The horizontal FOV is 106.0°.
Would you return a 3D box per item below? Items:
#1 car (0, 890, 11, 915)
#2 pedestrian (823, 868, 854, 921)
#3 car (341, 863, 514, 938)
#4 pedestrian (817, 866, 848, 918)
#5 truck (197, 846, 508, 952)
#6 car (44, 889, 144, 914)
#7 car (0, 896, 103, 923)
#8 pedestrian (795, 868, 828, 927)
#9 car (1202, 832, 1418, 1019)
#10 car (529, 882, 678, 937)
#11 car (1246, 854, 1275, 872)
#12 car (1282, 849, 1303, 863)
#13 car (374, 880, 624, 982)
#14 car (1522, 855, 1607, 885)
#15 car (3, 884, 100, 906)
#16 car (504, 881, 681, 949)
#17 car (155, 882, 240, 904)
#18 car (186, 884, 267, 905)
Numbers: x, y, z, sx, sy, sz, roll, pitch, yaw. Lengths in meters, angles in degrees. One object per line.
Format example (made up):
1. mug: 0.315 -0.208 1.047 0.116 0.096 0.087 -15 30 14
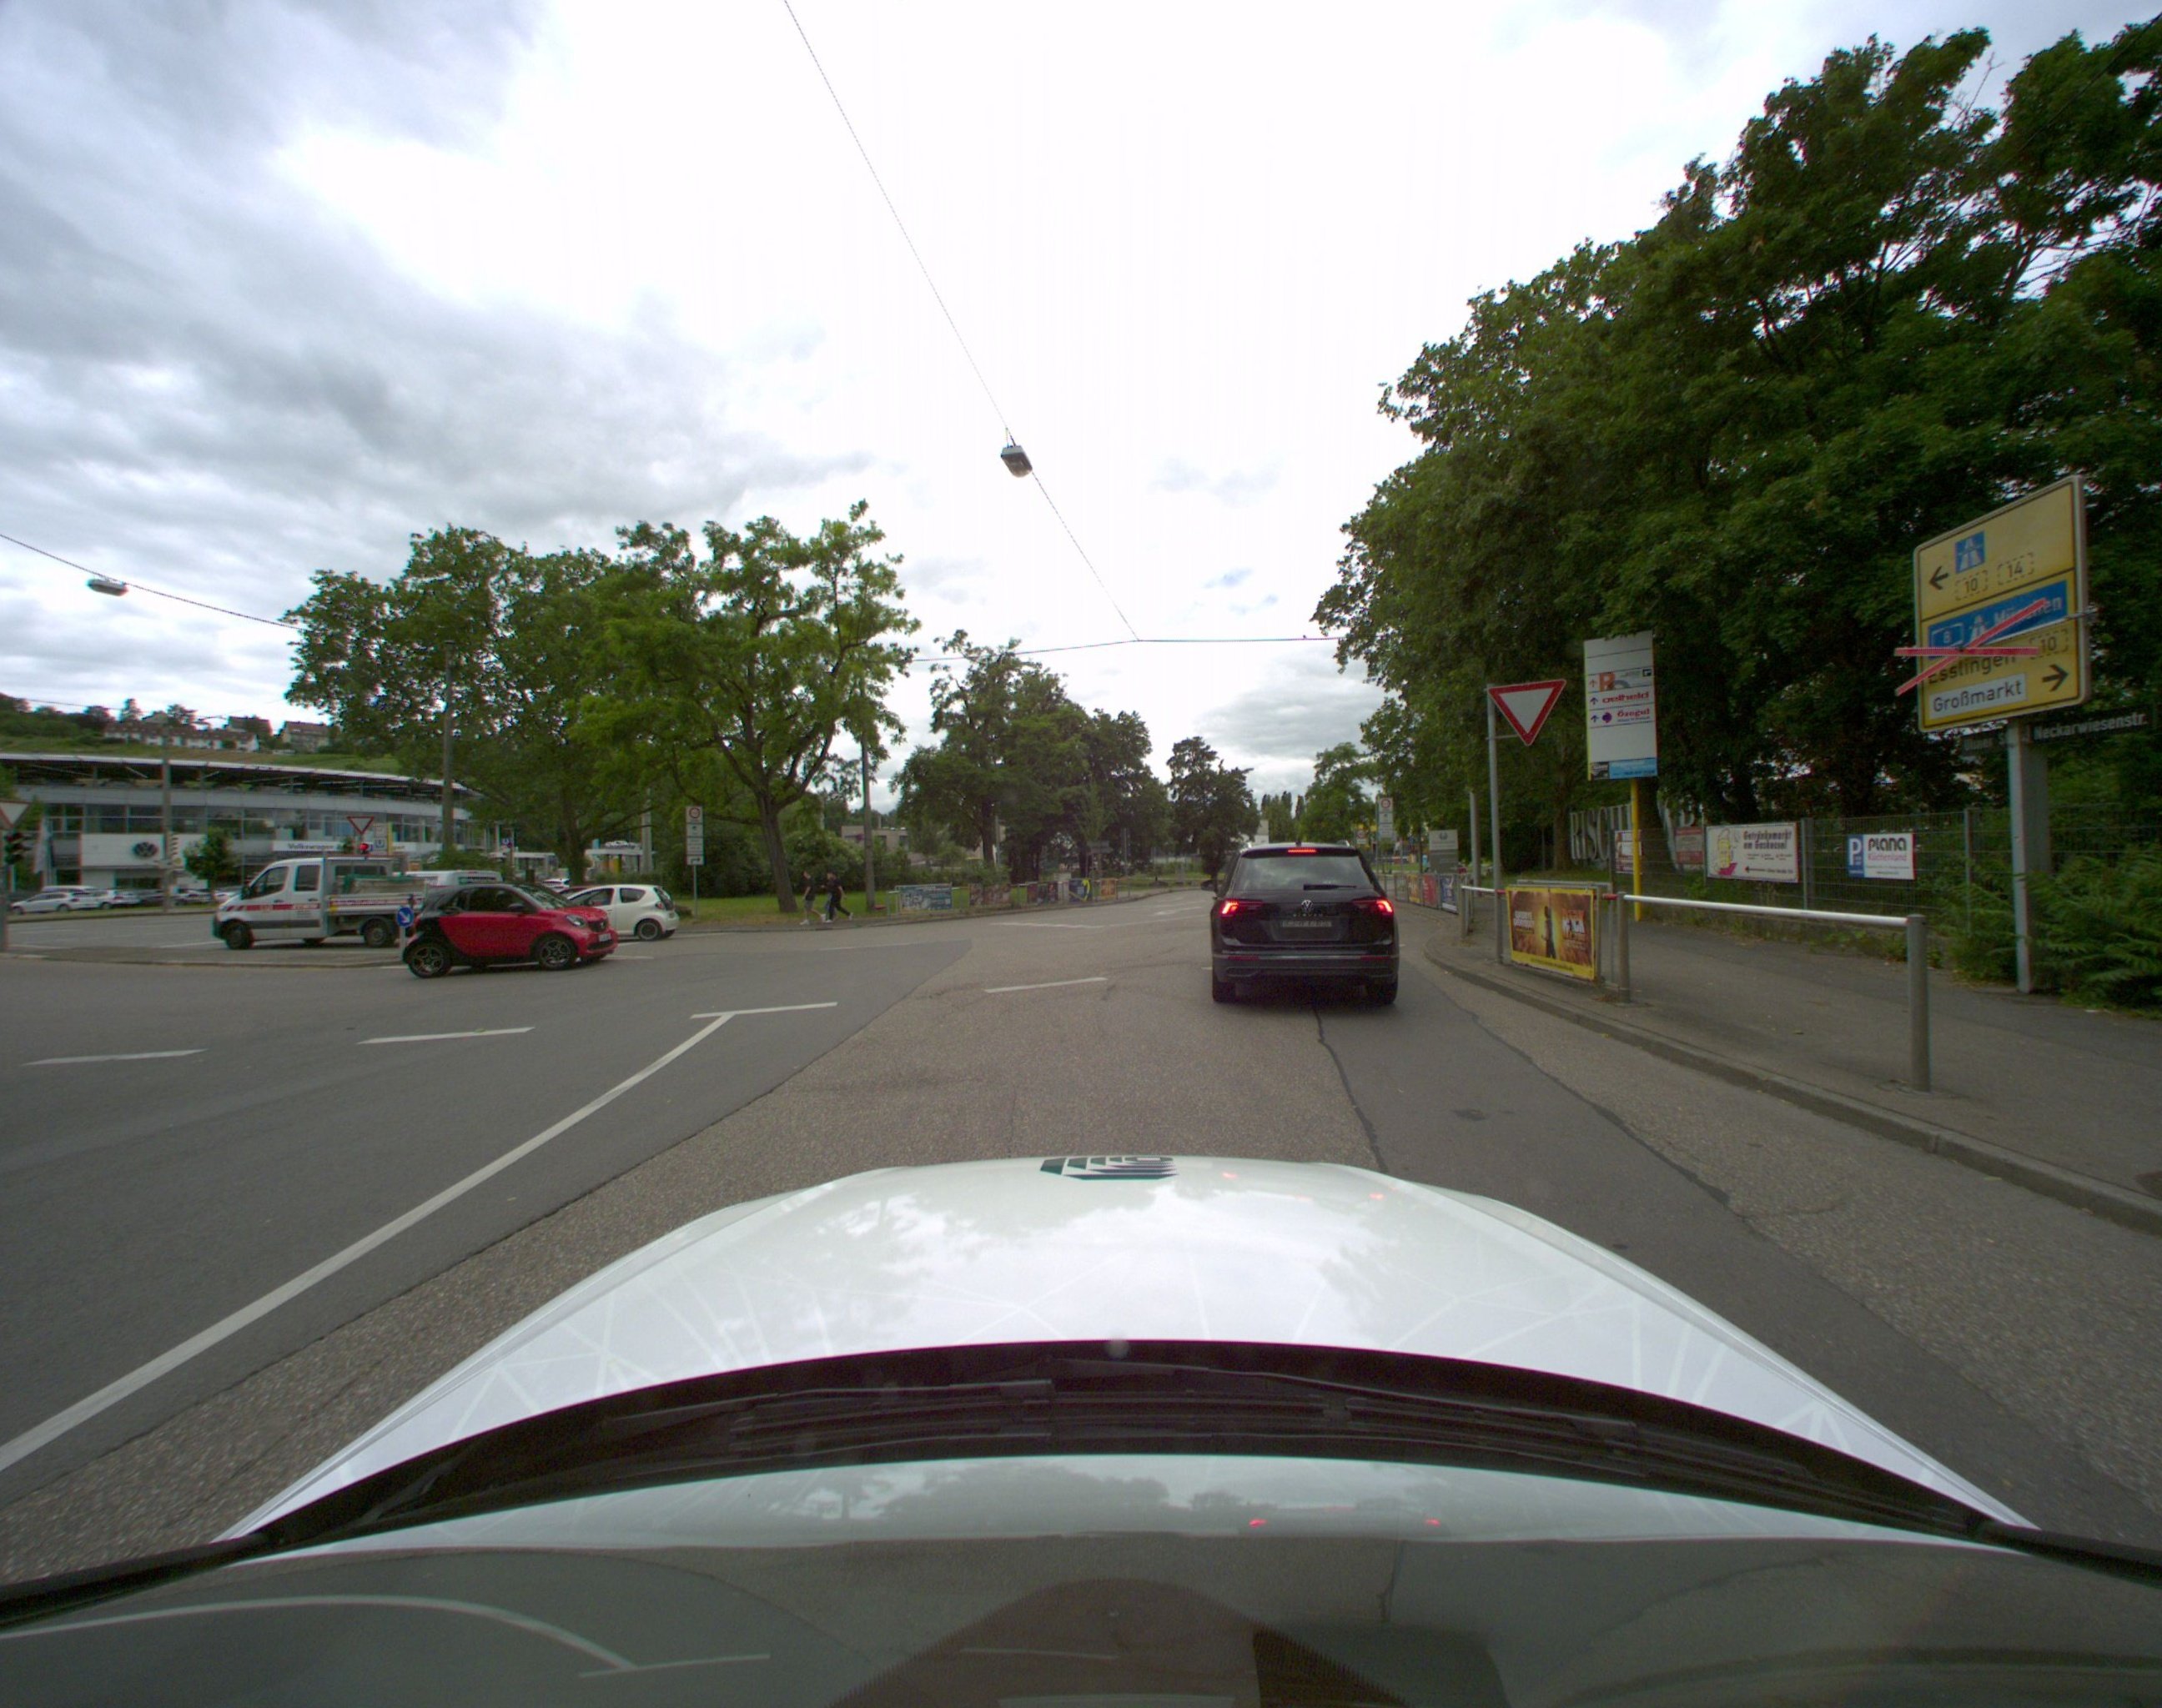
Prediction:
1. car: -68.334 3.043 49.358 3.876 1.501 1.766 -2 -1 -15
2. pedestrian: -8.053 1.340 27.061 0.783 1.714 0.695 -2 0 -1
3. car: -20.075 1.411 25.033 4.704 2.107 2.007 -2 0 21
4. pedestrian: -8.469 1.286 27.753 0.783 1.740 0.695 -2 0 -1
5. truck: -18.661 1.116 21.069 5.981 2.397 2.433 -2 0 4
6. car: -68.364 3.251 56.484 4.202 1.492 1.789 -2 -1 -11
7. car: -68.315 3.670 54.078 4.014 1.501 1.767 -2 -1 -13
8. pedestrian: -8.782 1.415 26.538 0.783 1.857 0.695 -2 0 -1
9. car: 2.322 0.631 9.294 1.833 1.635 4.195 -1 0 8
10. car: -13.909 1.599 23.798 3.401 1.457 1.647 -2 -2 6
11. car: 20.881 0.984 94.696 1.945 2.014 4.245 -1 -1 32
12. car: 32.322 0.327 124.210 1.945 2.014 4.245 -1 -1 32
13. car: -9.880 1.261 14.060 3.010 1.465 1.711 -2 0 -10
14. car: 26.513 0.877 44.743 3.692 1.505 1.486 -2 -1 12
15. car: -78.698 3.116 62.340 4.224 1.492 1.780 -1 -1 -27
16. car: -12.125 1.476 20.429 3.424 1.432 1.636 -2 0 -14
17. car: -69.220 3.041 63.852 4.202 1.492 1.789 -2 -1 -11
18. car: -69.291 3.300 66.097 4.202 1.492 1.789 -2 -1 -11
